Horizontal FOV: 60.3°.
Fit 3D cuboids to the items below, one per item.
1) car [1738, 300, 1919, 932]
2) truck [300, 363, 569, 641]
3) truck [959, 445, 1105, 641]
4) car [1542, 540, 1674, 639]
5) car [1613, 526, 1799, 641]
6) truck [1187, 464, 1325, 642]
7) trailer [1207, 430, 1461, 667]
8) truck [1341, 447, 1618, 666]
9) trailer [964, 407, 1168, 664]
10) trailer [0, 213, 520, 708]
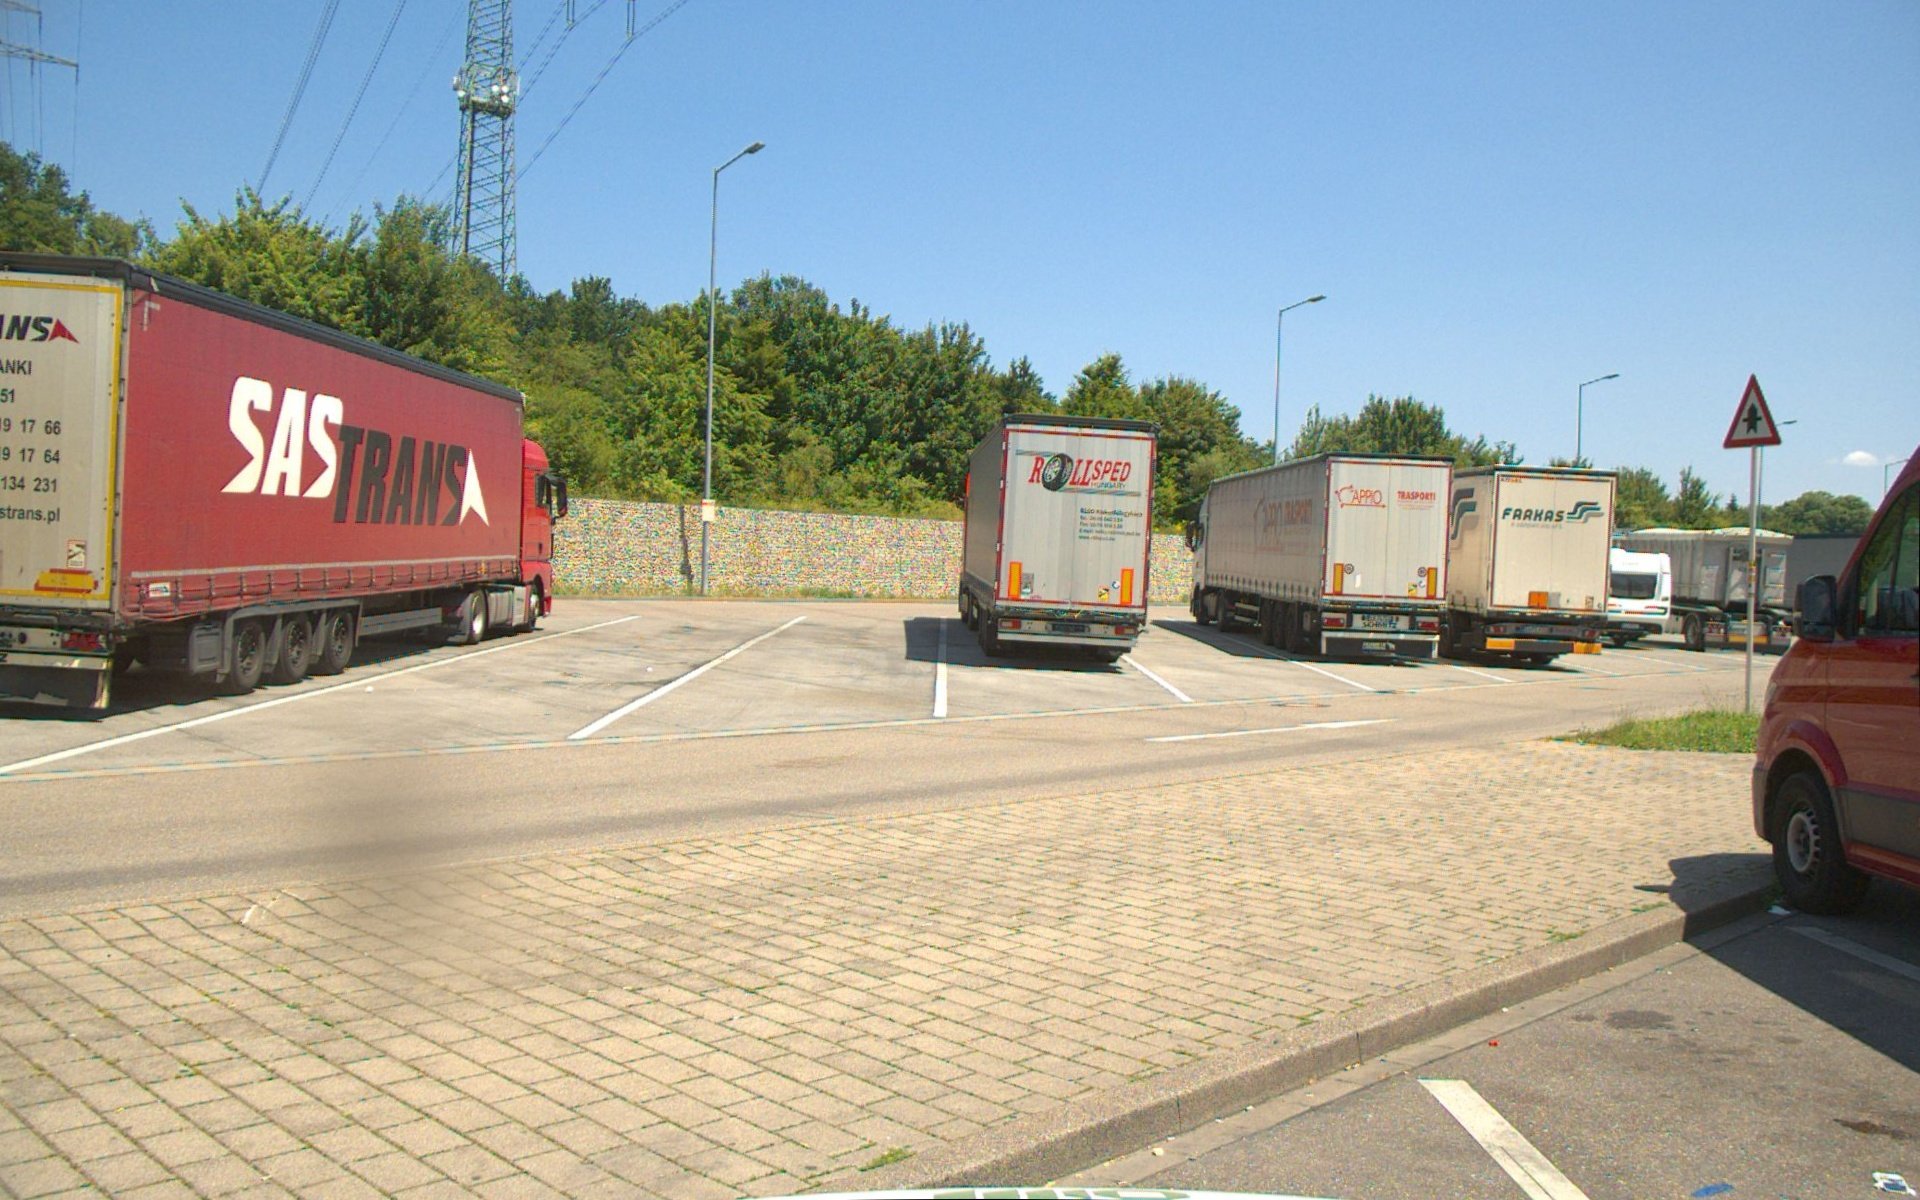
[{"bbox_3d":[4.977,0.102,5.554,1.952,2.679,6.385,1,1,3],"label":"car"},{"bbox_3d":[-8.726,-1.551,28.234,2.749,4.205,5.893,1,1,-1],"label":"truck"},{"bbox_3d":[1.508,-1.244,37.688,2.814,4.050,6.027,1,1,-2],"label":"truck"},{"bbox_3d":[18.233,-0.278,46.732,2.072,2.645,3.999,1,0,-1],"label":"car"},{"bbox_3d":[21.698,-0.507,48.491,2.448,3.128,6.350,1,1,-1],"label":"car"},{"bbox_3d":[8.019,-1.257,45.445,2.607,4.530,5.863,1,1,-1],"label":"truck"},{"bbox_3d":[8.173,-1.104,38.332,2.627,4.530,12.826,1,1,-1],"label":"trailer"},{"bbox_3d":[11.714,-0.842,38.868,2.534,4.299,11.967,1,0,-1],"label":"truck"},{"bbox_3d":[1.707,-1.132,32.160,2.839,4.083,11.313,1,1,-2],"label":"trailer"},{"bbox_3d":[-8.639,-1.343,20.979,2.743,4.293,13.200,1,1,-1],"label":"trailer"}]
